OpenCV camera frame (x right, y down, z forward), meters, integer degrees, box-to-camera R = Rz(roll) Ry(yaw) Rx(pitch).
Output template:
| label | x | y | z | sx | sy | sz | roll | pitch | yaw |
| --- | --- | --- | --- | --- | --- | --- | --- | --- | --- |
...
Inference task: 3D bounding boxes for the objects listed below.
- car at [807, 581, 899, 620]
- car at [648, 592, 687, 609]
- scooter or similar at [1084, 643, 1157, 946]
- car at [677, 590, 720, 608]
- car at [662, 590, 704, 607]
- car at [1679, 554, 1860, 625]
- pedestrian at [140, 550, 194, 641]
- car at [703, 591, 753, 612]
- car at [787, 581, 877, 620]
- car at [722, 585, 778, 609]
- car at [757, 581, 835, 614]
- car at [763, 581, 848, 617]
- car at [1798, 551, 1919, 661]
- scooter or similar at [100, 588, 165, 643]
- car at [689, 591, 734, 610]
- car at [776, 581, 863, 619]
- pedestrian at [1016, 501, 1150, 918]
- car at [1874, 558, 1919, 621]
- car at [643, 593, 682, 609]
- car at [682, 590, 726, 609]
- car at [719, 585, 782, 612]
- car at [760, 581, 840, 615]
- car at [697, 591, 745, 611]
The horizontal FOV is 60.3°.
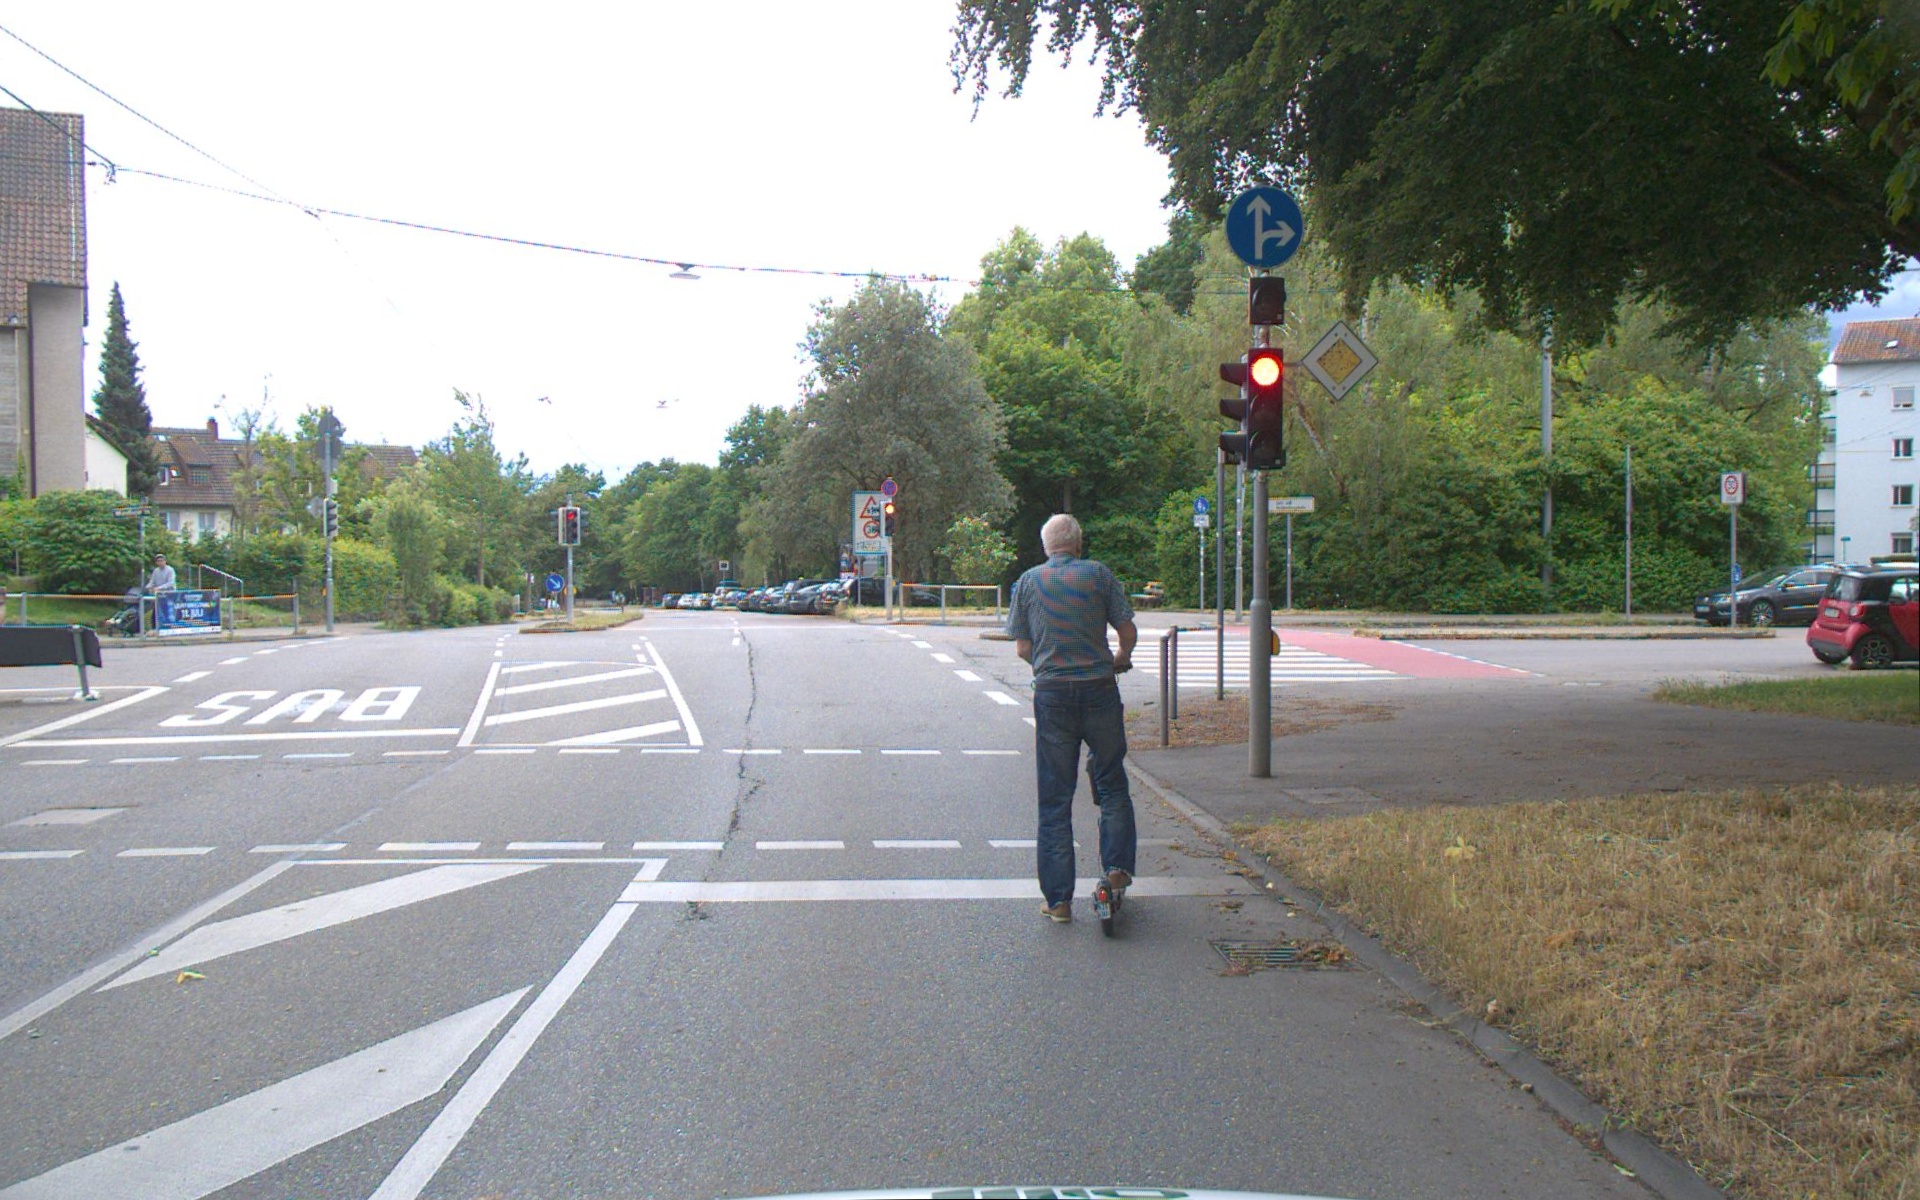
| label | x | y | z | sx | sy | sz | roll | pitch | yaw |
| --- | --- | --- | --- | --- | --- | --- | --- | --- | --- |
| car | -4.854 | 0.016 | 74.714 | 3.787 | 1.639 | 1.717 | -2 | 1 | -22 |
| car | -30.941 | 0.019 | 175.158 | 3.790 | 1.639 | 1.716 | -2 | 1 | -24 |
| scooter or similar | 0.730 | 0.817 | 7.394 | 0.276 | 1.199 | 1.178 | -1 | 1 | 7 |
| car | -25.068 | -0.084 | 158.388 | 3.790 | 1.639 | 1.716 | -2 | 1 | -24 |
| car | -27.708 | -0.162 | 165.414 | 3.790 | 1.639 | 1.716 | -2 | 1 | -24 |
| car | 19.148 | -0.263 | 39.240 | 3.444 | 1.557 | 1.729 | -2 | 1 | 5 |
| pedestrian | -16.762 | -0.103 | 34.977 | 0.560 | 1.895 | 0.887 | -1 | 0 | 17 |
| car | -19.473 | 0.124 | 138.791 | 3.790 | 1.639 | 1.716 | -2 | 1 | -24 |
| car | -5.939 | 0.009 | 76.668 | 3.792 | 1.639 | 1.715 | -2 | 1 | -25 |
| car | -15.450 | -0.221 | 121.656 | 3.790 | 1.639 | 1.716 | -2 | 1 | -24 |
| car | -8.812 | -0.140 | 88.926 | 3.790 | 1.639 | 1.716 | -2 | 1 | -24 |
| car | -7.584 | -0.064 | 81.219 | 3.790 | 1.639 | 1.716 | -2 | 1 | -24 |
| car | 15.252 | 0.047 | 25.838 | 3.444 | 1.639 | 1.729 | -2 | 1 | 4 |
| scooter or similar | -17.022 | 0.305 | 34.042 | 0.563 | 1.100 | 1.112 | -1 | 1 | 17 |
| car | -23.077 | 0.016 | 153.715 | 3.790 | 1.639 | 1.716 | -2 | 1 | -24 |
| car | -6.733 | -0.010 | 79.197 | 3.790 | 1.639 | 1.716 | -2 | 1 | -24 |
| pedestrian | 0.569 | 0.486 | 7.567 | 0.560 | 1.845 | 0.421 | -1 | 0 | 7 |
| car | 26.399 | -0.336 | 45.821 | 1.689 | 1.639 | 3.850 | -1 | 1 | 27 |
| car | -31.951 | 0.078 | 177.480 | 3.790 | 1.639 | 1.716 | -2 | 1 | -24 |
| car | -24.136 | -0.057 | 155.832 | 3.790 | 1.639 | 1.716 | -2 | 1 | -24 |
| car | -13.792 | -0.084 | 108.713 | 3.790 | 1.639 | 1.716 | -2 | 1 | -24 |
| car | -8.373 | -0.127 | 86.521 | 3.790 | 1.639 | 1.716 | -2 | 1 | -24 |
| car | -20.567 | 0.091 | 142.449 | 3.790 | 1.639 | 1.716 | -2 | 1 | -24 |
